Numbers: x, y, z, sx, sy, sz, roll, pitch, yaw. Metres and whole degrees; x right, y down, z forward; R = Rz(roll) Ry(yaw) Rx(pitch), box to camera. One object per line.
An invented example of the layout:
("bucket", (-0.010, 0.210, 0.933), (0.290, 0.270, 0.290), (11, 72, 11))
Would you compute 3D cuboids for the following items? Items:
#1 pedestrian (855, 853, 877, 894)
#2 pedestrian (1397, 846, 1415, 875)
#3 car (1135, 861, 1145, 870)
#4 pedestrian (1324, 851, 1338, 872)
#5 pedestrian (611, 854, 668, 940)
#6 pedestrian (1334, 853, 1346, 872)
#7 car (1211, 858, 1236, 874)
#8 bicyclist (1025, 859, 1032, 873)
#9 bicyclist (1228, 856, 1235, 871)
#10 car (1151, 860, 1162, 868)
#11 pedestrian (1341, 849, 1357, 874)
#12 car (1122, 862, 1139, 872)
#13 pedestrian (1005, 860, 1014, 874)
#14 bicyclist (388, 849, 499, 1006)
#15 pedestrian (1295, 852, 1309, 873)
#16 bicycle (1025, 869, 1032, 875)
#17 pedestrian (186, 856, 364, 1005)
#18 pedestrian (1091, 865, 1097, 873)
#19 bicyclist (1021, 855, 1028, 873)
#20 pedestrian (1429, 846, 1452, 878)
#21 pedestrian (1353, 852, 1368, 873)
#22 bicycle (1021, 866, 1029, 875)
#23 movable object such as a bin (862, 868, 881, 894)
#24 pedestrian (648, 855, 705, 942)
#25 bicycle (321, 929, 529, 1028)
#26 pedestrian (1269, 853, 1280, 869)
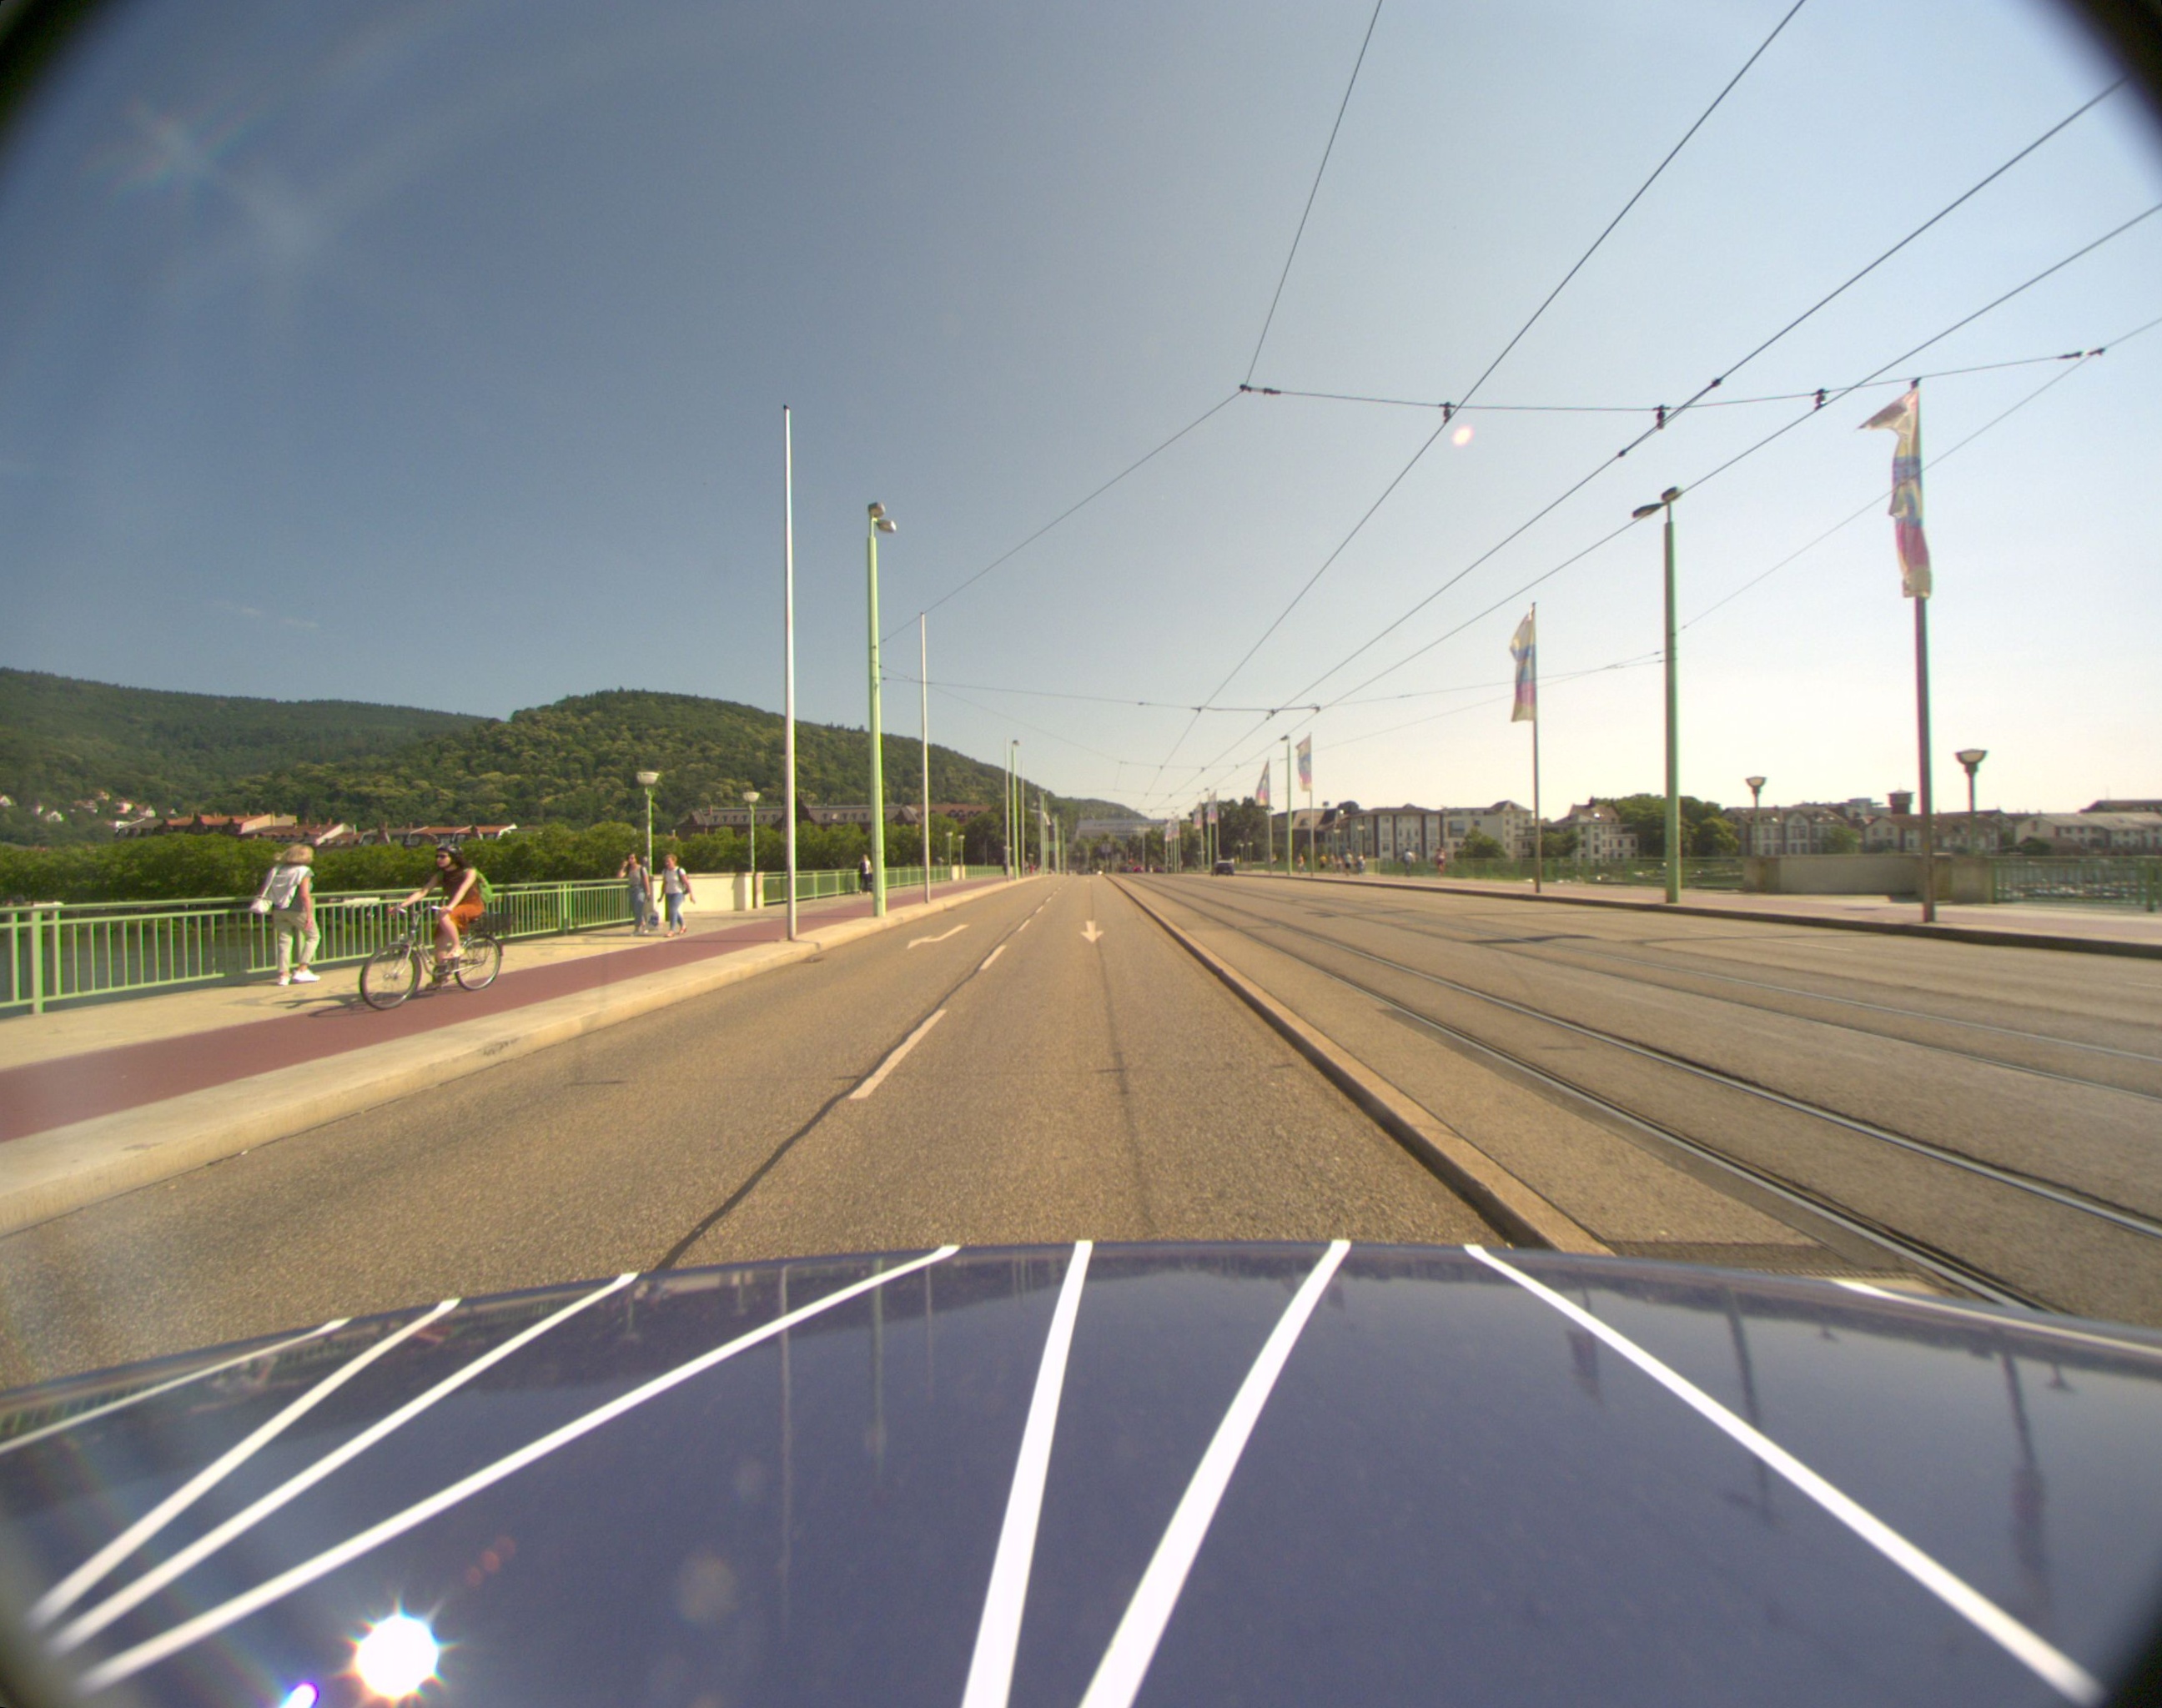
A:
("pedestrian", (-9.030, 0.827, 31.889), (0.664, 1.696, 0.859), (0, 1, 0))
("pedestrian", (19.758, 0.391, 46.208), (0.592, 1.690, 1.022), (-3, 1, 0))
("car", (11.866, 2.256, 153.186), (1.714, 1.686, 4.000), (-5, 0, 1))
("pedestrian", (18.928, 0.568, 57.529), (0.627, 1.590, 1.022), (-3, 1, 0))
("pedestrian", (-8.686, 0.830, 14.978), (0.669, 1.649, 0.746), (0, 1, 0))
("pedestrian", (19.661, 0.614, 57.739), (0.547, 1.429, 0.789), (-3, 1, 0))
("car", (13.725, 1.143, 73.230), (1.720, 1.446, 3.901), (0, 0, 0))
("bicyclist", (-6.381, 1.483, 92.146), (0.731, 1.655, 0.844), (-1, 0, 1))
("bicyclist", (17.749, 1.117, 89.634), (0.666, 1.641, 0.622), (-1, 1, 1))
("car", (13.782, 1.771, 138.679), (1.672, 1.428, 4.000), (-1, 1, 1))
("pedestrian", (18.404, 0.500, 52.196), (0.671, 1.690, 1.022), (-3, 1, 0))
("car", (12.300, 3.217, 187.833), (3.996, 2.002, 2.000), (-5, 0, 3))
("pedestrian", (-8.219, 1.495, 87.367), (0.950, 1.653, 1.082), (1, 0, 0))
("bicyclist", (-6.958, 0.771, 8.321), (0.606, 1.641, 0.702), (0, 1, 1))
("pedestrian", (18.743, 0.698, 64.383), (0.787, 1.690, 1.022), (-3, 1, 0))
("bicycle", (-6.372, 2.185, 92.254), (0.595, 0.761, 1.866), (0, 0, 1))
("pedestrian", (-9.480, 0.851, 8.994), (0.950, 1.653, 1.082), (1, 1, 0))
("pedestrian", (3.429, 4.074, 205.321), (1.037, 2.002, 1.199), (-4, 2, -45))
("bicyclist", (-5.359, 0.954, 72.290), (0.587, 1.759, 0.672), (0, 1, 1))
("pedestrian", (19.362, 0.436, 40.974), (0.686, 1.680, 1.022), (-3, 1, 0))
("pedestrian", (19.007, 0.581, 51.703), (0.592, 1.406, 1.022), (-3, 0, 0))
("bicycle", (-5.361, 1.576, 72.356), (0.595, 0.761, 1.866), (0, 0, 1))
("movable object such as a bin", (-9.013, 1.145, 32.723), (0.583, 1.084, 0.933), (0, 0, 0))
("pedestrian", (-7.923, 0.851, 14.912), (0.664, 1.649, 0.825), (0, 1, 0))
("bicycle", (-6.959, 1.281, 8.203), (0.595, 0.761, 1.866), (0, 0, 1))
("pedestrian", (20.202, 0.727, 79.180), (0.787, 1.690, 1.022), (-3, 1, 0))
